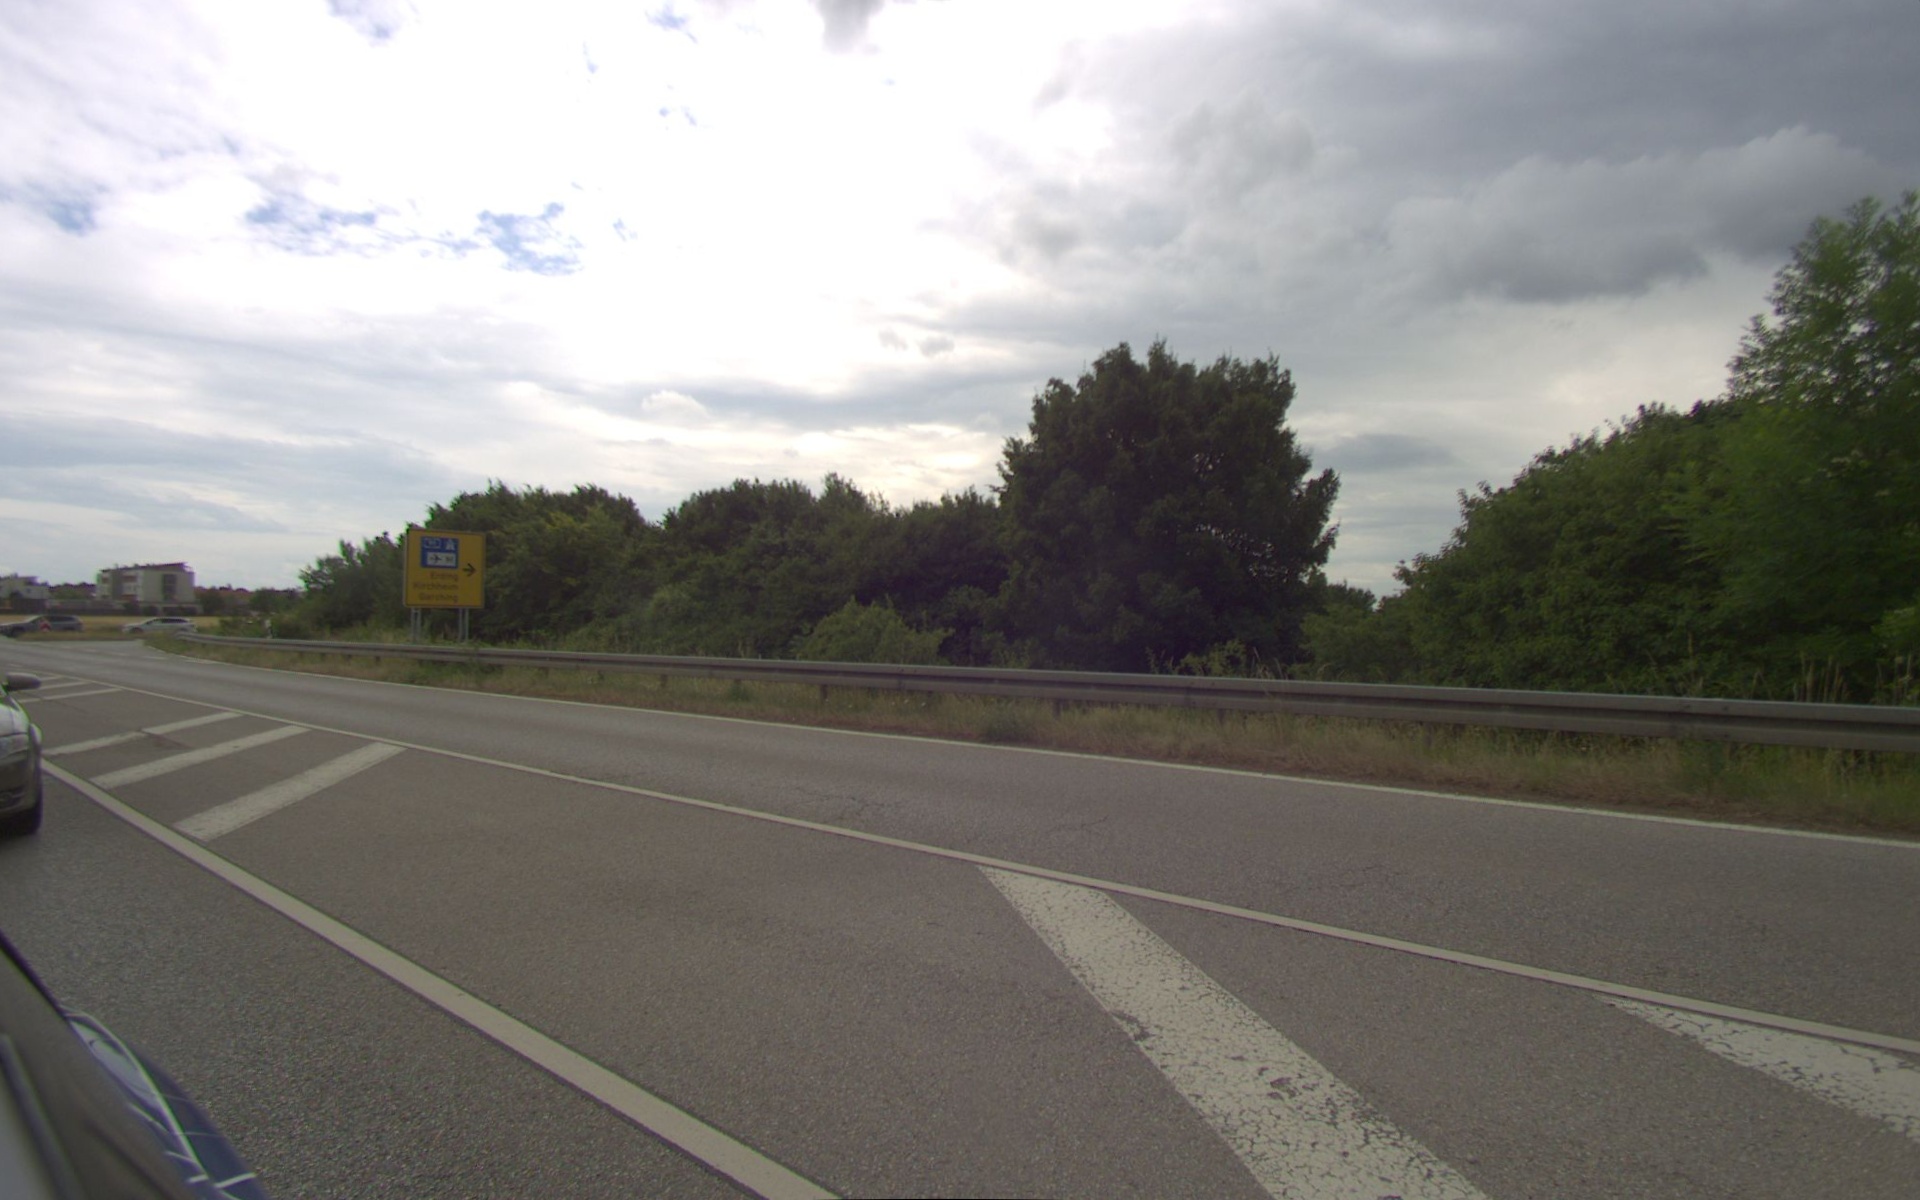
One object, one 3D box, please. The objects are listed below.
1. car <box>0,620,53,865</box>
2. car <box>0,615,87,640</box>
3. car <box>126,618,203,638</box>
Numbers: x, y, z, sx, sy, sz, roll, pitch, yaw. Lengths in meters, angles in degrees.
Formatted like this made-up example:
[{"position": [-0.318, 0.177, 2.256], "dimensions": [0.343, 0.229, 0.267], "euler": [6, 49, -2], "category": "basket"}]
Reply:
[{"position": [-7.715, 0.870, 6.916], "dimensions": [4.201, 1.455, 1.708], "euler": [-1, -2, 40], "category": "car"}, {"position": [-66.240, 1.969, 72.910], "dimensions": [1.997, 1.702, 4.758], "euler": [-1, -1, 37], "category": "car"}, {"position": [-61.570, 2.167, 78.367], "dimensions": [4.605, 1.510, 2.003], "euler": [1, -1, -40], "category": "car"}]
